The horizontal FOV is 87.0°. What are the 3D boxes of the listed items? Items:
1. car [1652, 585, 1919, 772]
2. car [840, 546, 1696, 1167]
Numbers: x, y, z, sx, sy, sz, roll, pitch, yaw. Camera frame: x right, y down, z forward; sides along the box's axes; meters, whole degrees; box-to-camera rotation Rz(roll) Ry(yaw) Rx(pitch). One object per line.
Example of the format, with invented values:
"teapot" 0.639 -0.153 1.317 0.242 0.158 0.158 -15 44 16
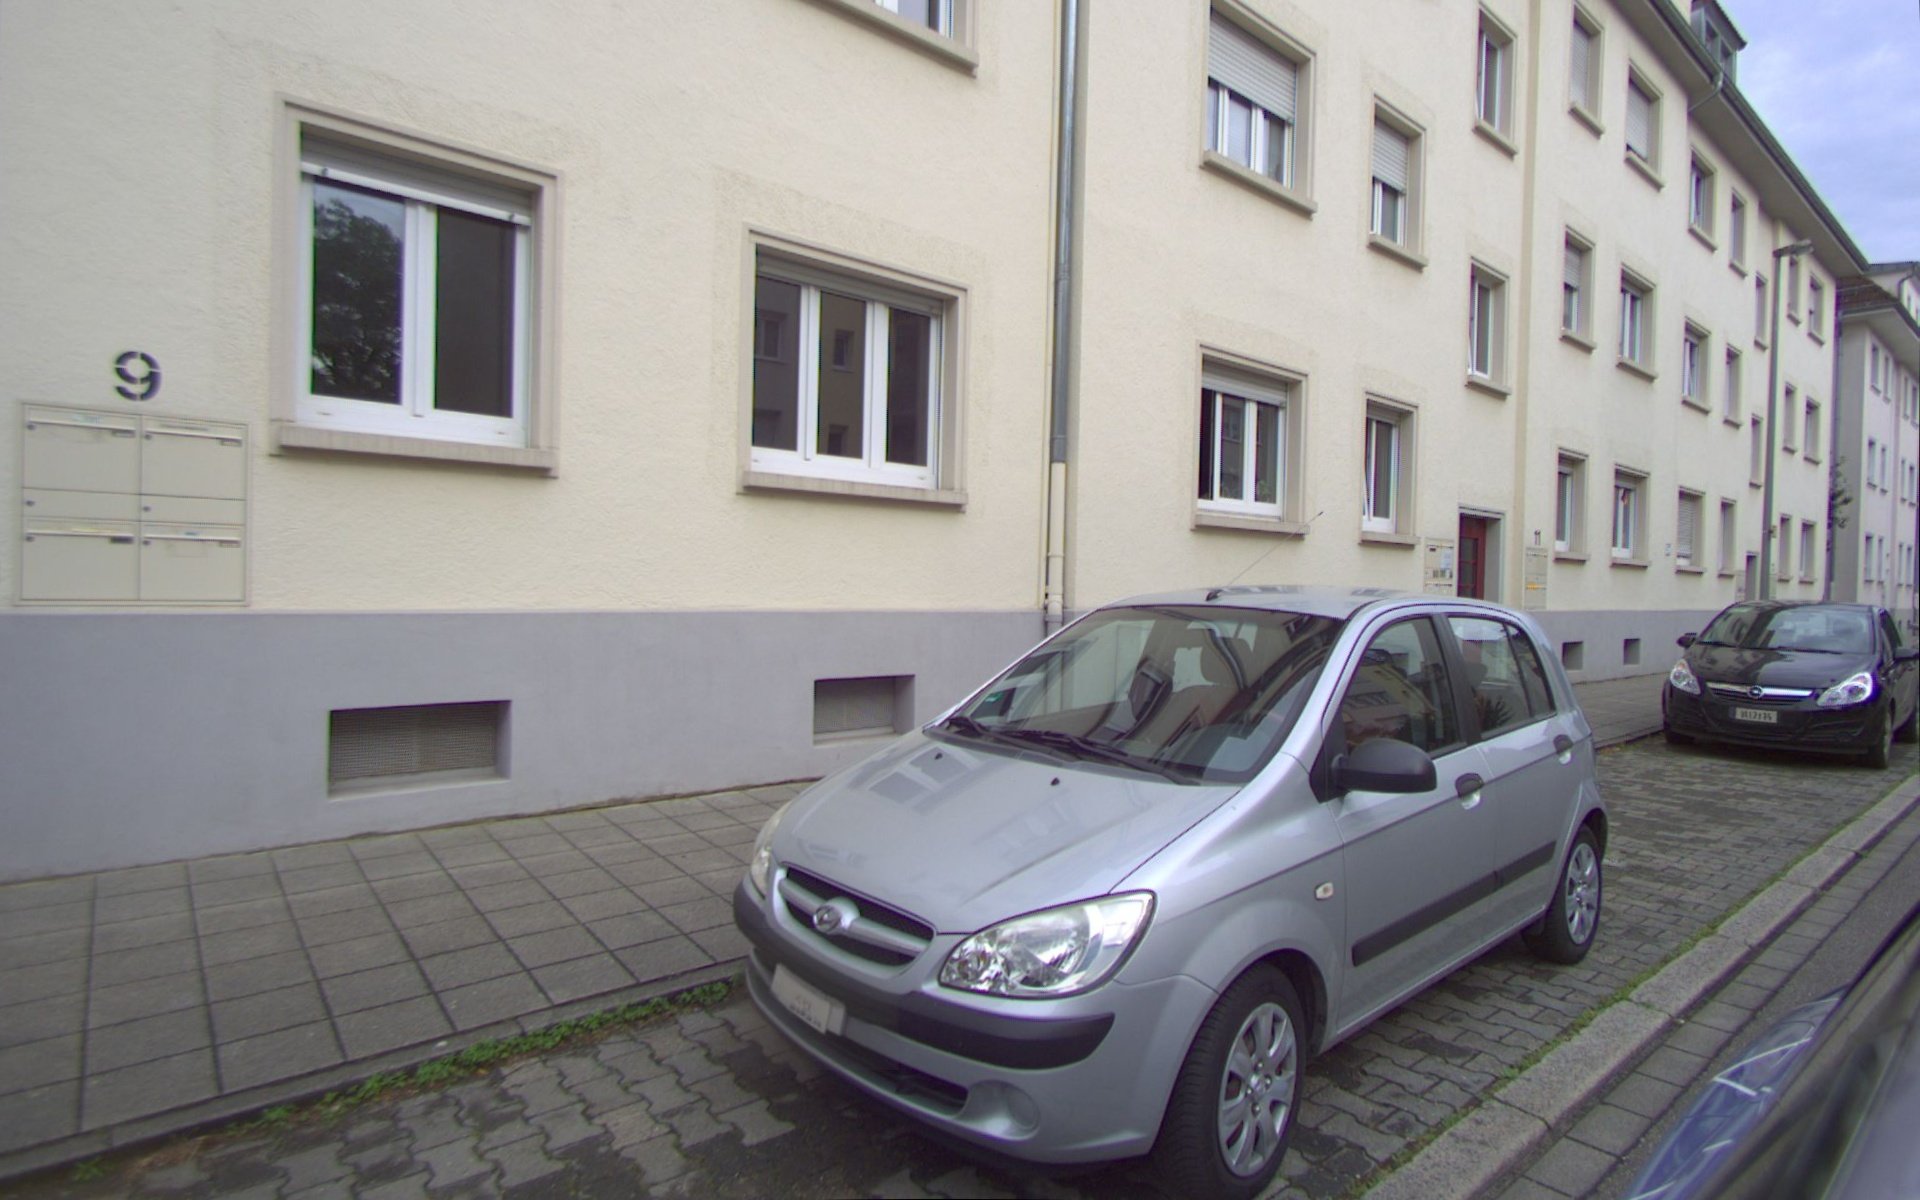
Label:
"car" 8.628 0.634 10.287 3.990 1.536 1.728 0 0 -42
"car" 1.565 0.589 4.351 3.767 1.468 1.851 0 1 -42
